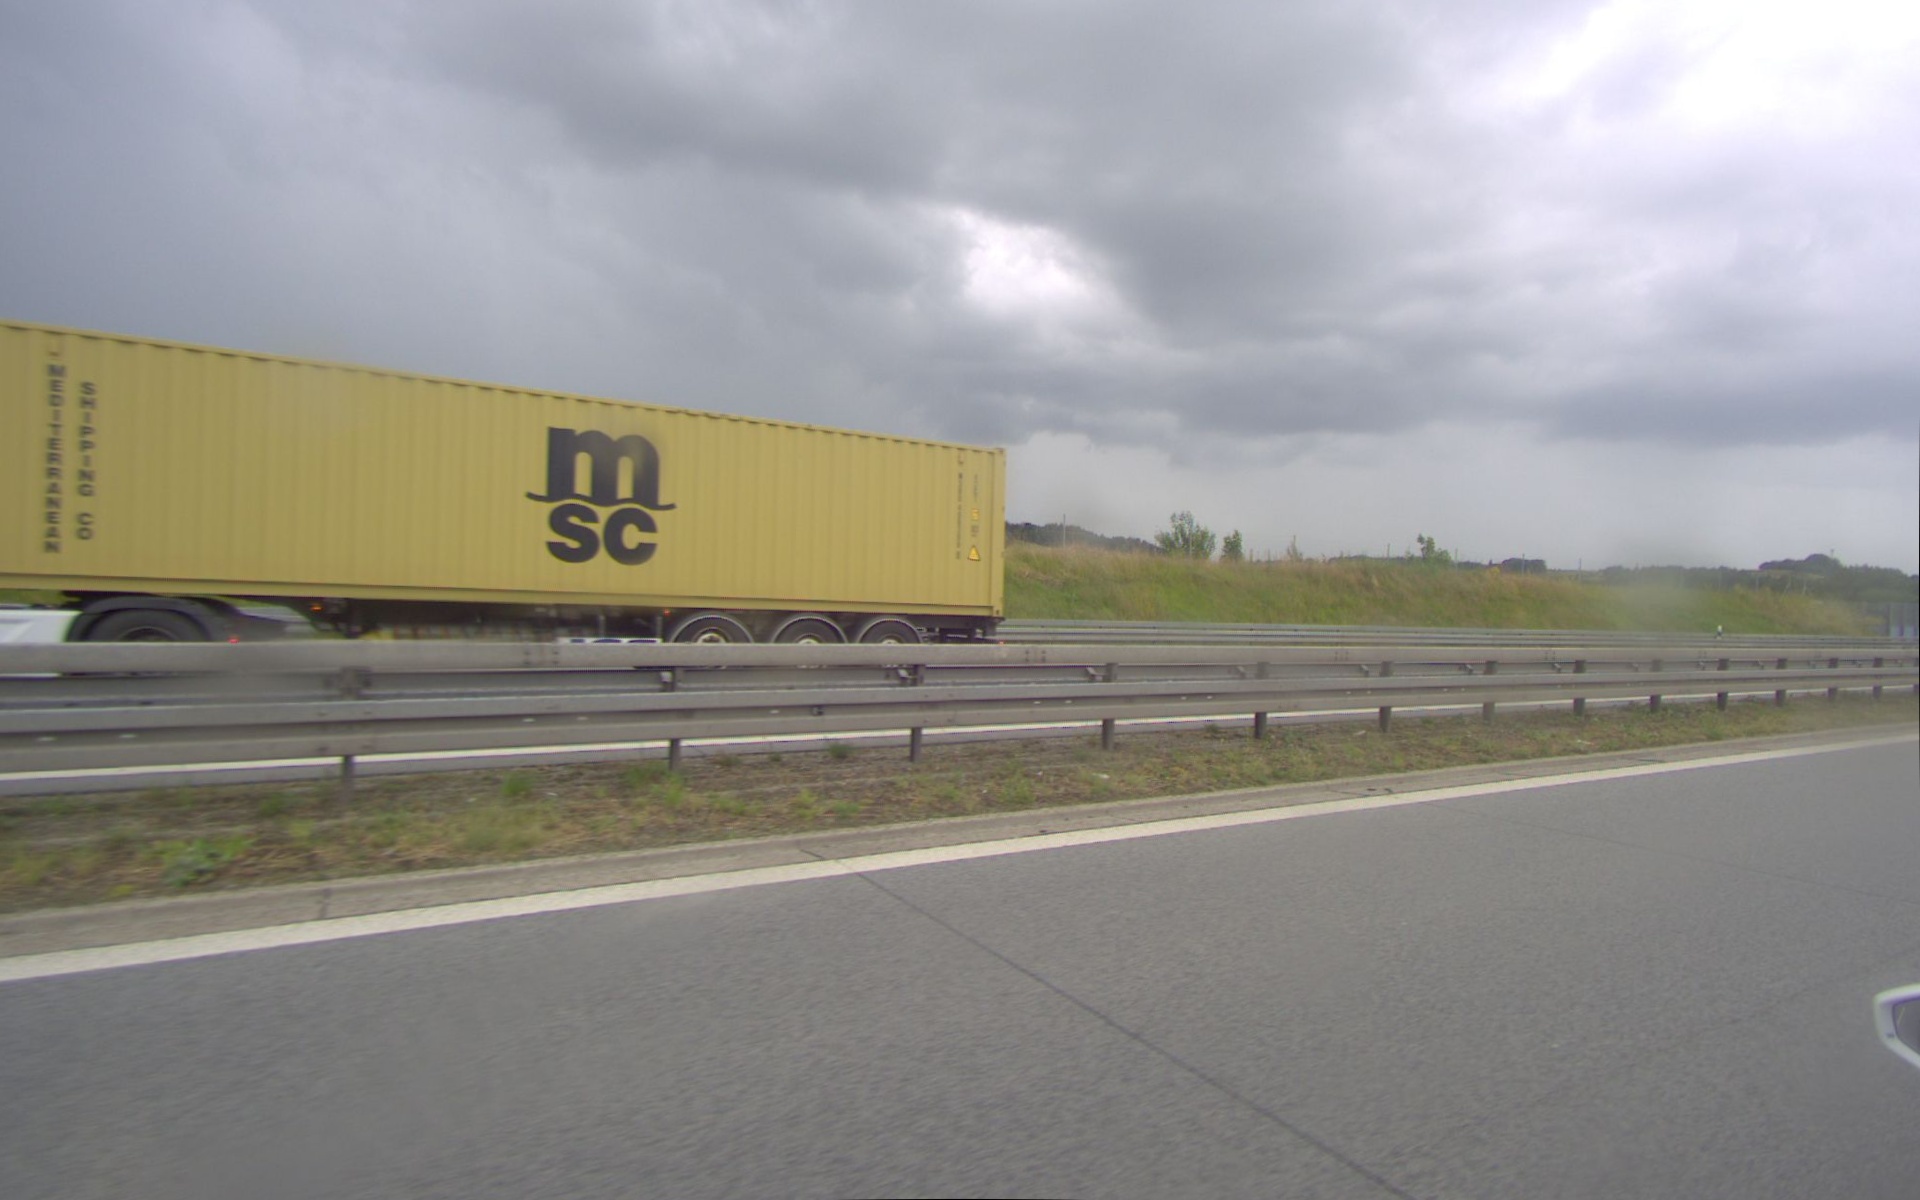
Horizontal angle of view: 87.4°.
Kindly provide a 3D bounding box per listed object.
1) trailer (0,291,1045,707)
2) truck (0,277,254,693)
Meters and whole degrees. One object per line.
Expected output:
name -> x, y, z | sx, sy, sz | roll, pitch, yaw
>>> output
trailer -> -5.136, -0.860, 13.598 | 13.544, 3.978, 2.576 | 1, 0, -31
truck -> -10.730, -1.141, 10.224 | 5.523, 3.978, 2.579 | 1, 0, -31
